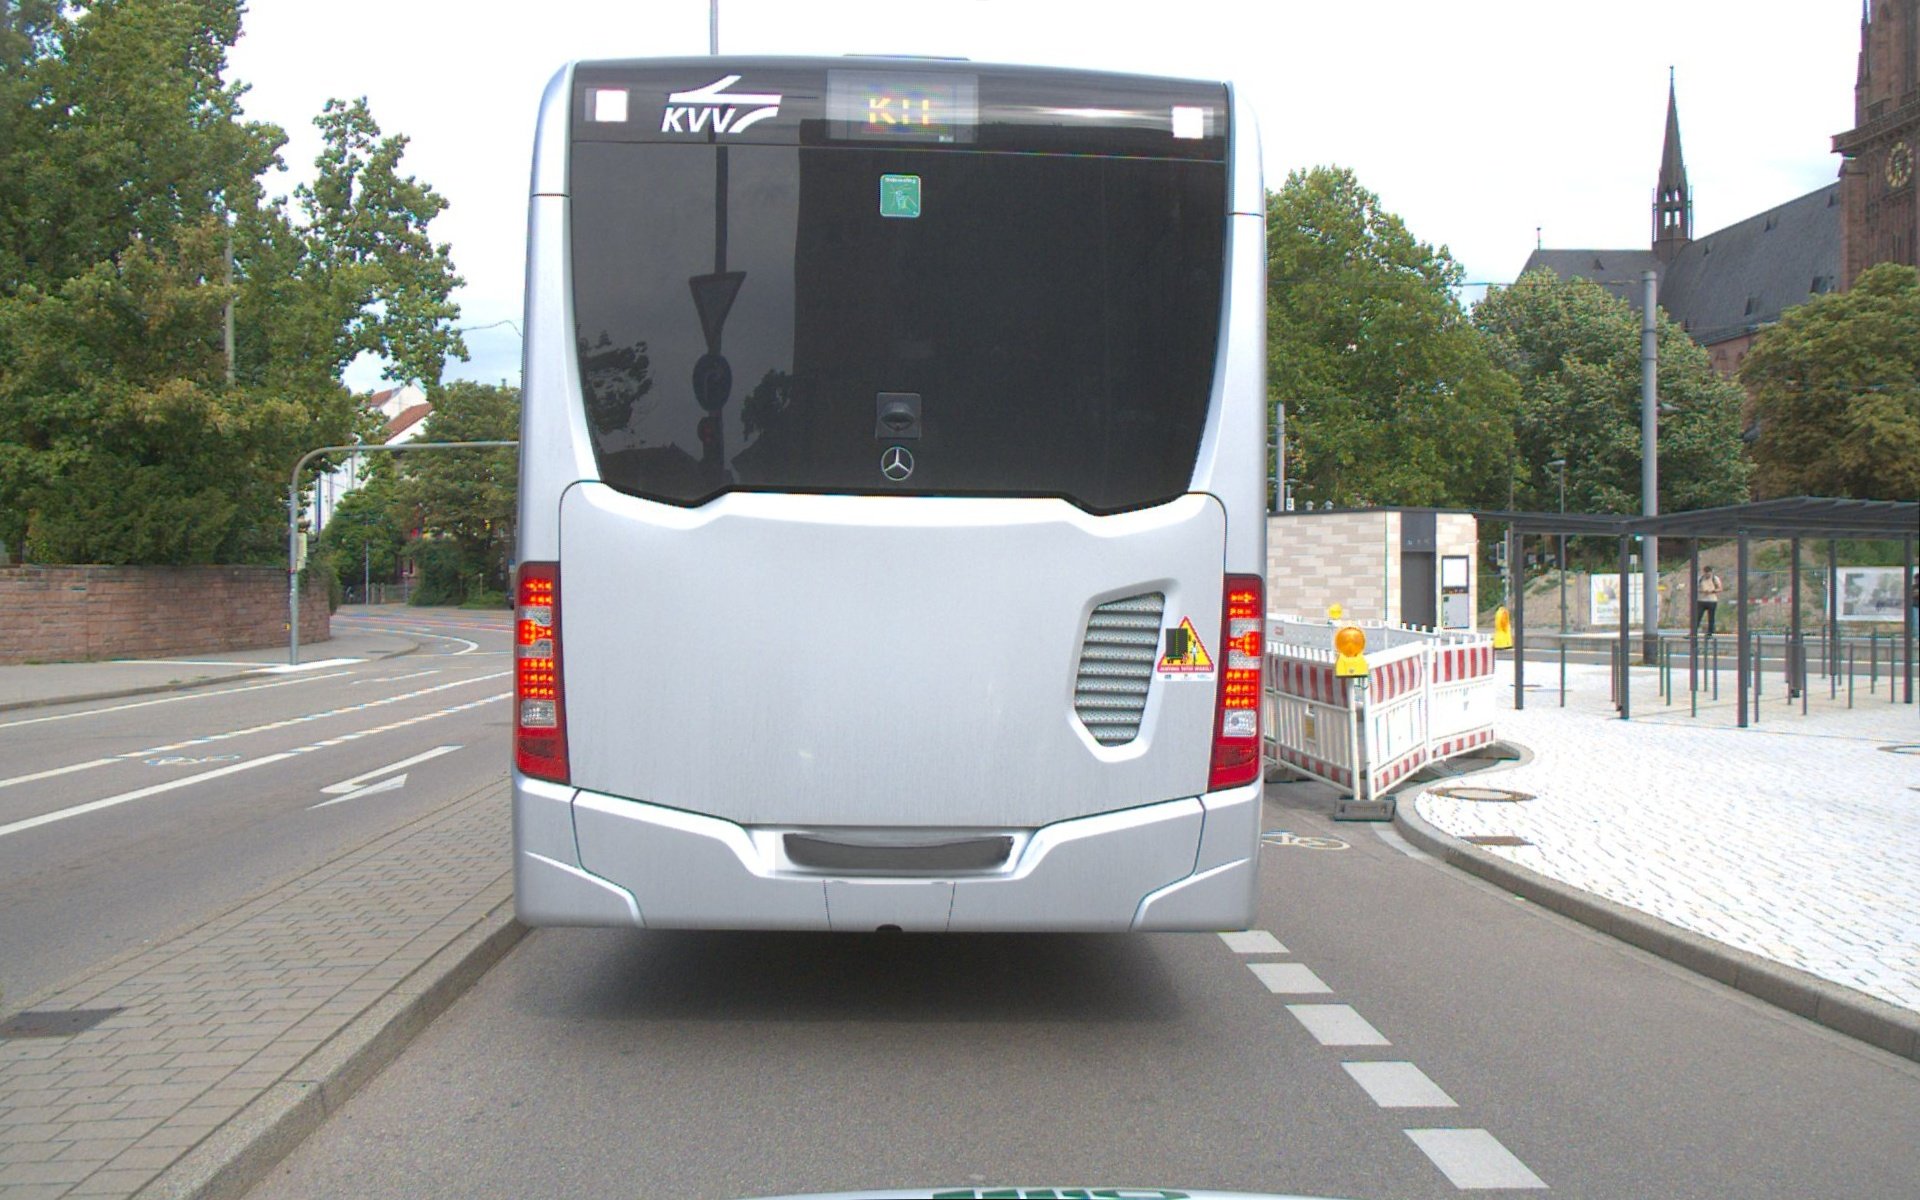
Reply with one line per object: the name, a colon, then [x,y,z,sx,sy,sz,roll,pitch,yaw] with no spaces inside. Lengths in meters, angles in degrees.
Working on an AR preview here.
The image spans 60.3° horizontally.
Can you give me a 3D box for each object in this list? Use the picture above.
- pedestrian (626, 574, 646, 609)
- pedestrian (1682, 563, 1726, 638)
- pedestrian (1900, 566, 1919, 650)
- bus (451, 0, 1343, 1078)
pedestrian: [-18.875,-0.501,96.374,0.877,2.049,1.000,0,1,-28]
pedestrian: [18.464,0.002,41.050,0.803,1.832,0.753,0,3,9]
pedestrian: [21.333,0.178,36.727,0.519,1.832,0.667,-3,3,-44]
bus: [-0.520,-0.340,12.011,2.650,3.498,14.175,0,0,-3]
